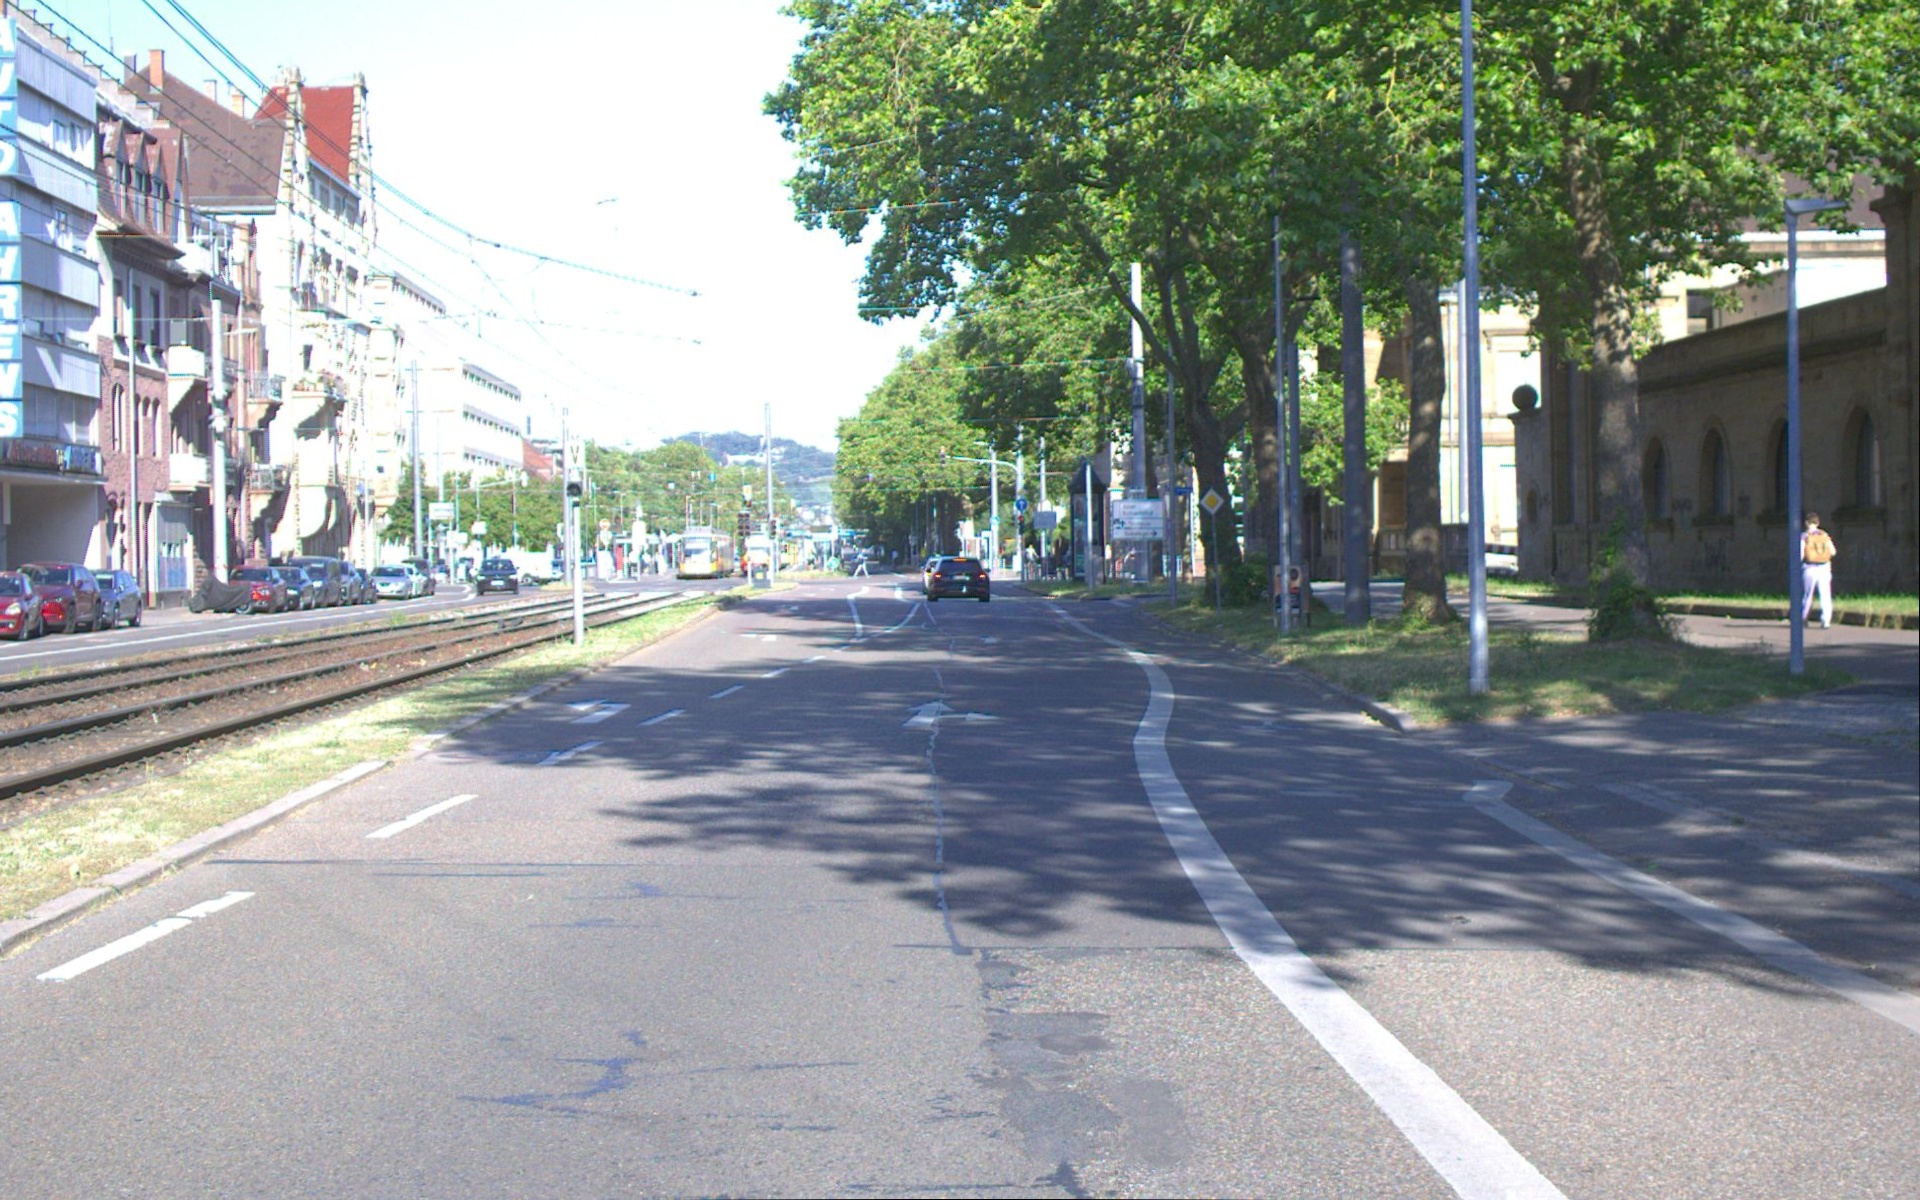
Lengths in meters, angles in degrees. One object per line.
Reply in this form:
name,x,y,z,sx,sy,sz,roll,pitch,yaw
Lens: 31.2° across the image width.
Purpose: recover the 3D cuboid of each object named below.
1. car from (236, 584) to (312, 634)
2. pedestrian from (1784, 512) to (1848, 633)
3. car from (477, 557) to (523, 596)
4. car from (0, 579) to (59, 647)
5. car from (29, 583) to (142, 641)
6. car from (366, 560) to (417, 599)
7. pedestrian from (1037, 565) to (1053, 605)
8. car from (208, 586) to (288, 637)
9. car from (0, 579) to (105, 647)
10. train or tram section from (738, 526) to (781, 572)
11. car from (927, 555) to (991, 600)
car,-22.755,0.282,114.099,1.794,1.505,4.000,2,1,-2
pedestrian,12.275,-0.400,49.319,0.608,1.676,0.636,-5,1,-4
car,-20.008,-1.042,149.579,1.635,1.596,4.160,-2,1,-4
car,-21.215,0.263,76.177,1.833,1.386,4.036,2,0,-7
car,-22.007,0.285,86.628,1.833,1.386,4.682,0,1,-2
car,-23.614,-0.873,142.855,1.794,1.505,4.001,2,1,-6
pedestrian,3.703,-0.644,149.340,0.588,1.722,0.650,1,1,11
car,-22.655,0.353,109.484,1.794,1.455,4.267,2,1,-3
car,-21.669,0.288,81.350,1.833,1.553,4.353,1,0,-1
train or tram section,-15.265,-3.894,262.136,2.825,3.439,9.064,-1,1,-1
car,-0.048,-0.720,107.709,1.833,1.386,4.159,0,1,-2
